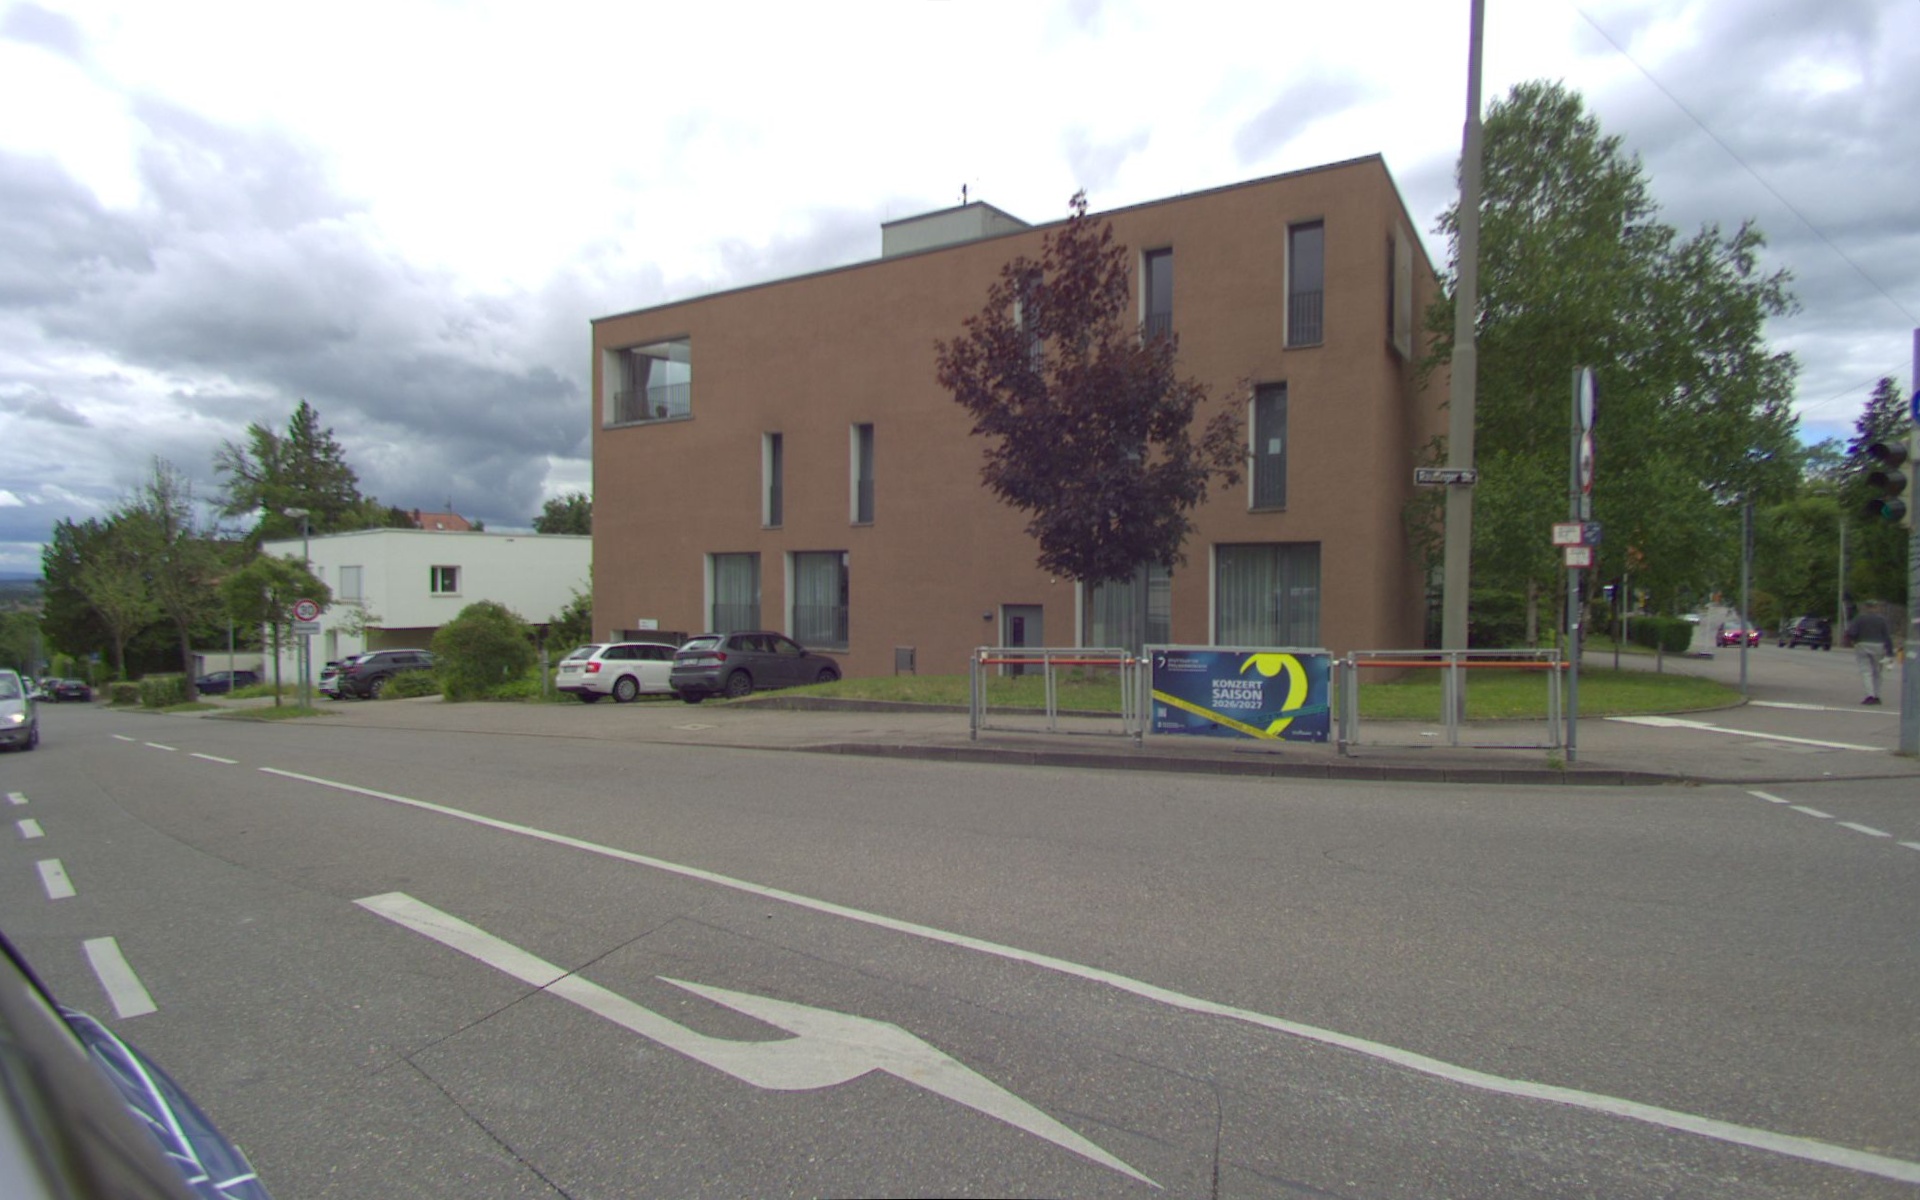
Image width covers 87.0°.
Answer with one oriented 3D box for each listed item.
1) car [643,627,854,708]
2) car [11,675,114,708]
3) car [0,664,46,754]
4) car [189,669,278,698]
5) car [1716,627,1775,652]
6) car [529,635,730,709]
[{"bbox_3d":[-4.631,1.433,22.702,1.998,1.570,4.379,-3,-2,39],"label":"car"},{"bbox_3d":[-53.711,5.441,60.642,1.998,1.570,4.379,-2,-1,39],"label":"car"},{"bbox_3d":[-19.210,2.159,19.657,1.969,1.608,4.006,-2,-3,-40],"label":"car"},{"bbox_3d":[-47.410,5.420,66.077,1.998,1.570,4.379,-3,-2,39],"label":"car"},{"bbox_3d":[45.230,2.253,58.339,1.991,1.209,3.962,0,0,28],"label":"car"},{"bbox_3d":[-8.125,1.709,25.169,1.998,1.570,4.379,-3,-2,39],"label":"car"}]
